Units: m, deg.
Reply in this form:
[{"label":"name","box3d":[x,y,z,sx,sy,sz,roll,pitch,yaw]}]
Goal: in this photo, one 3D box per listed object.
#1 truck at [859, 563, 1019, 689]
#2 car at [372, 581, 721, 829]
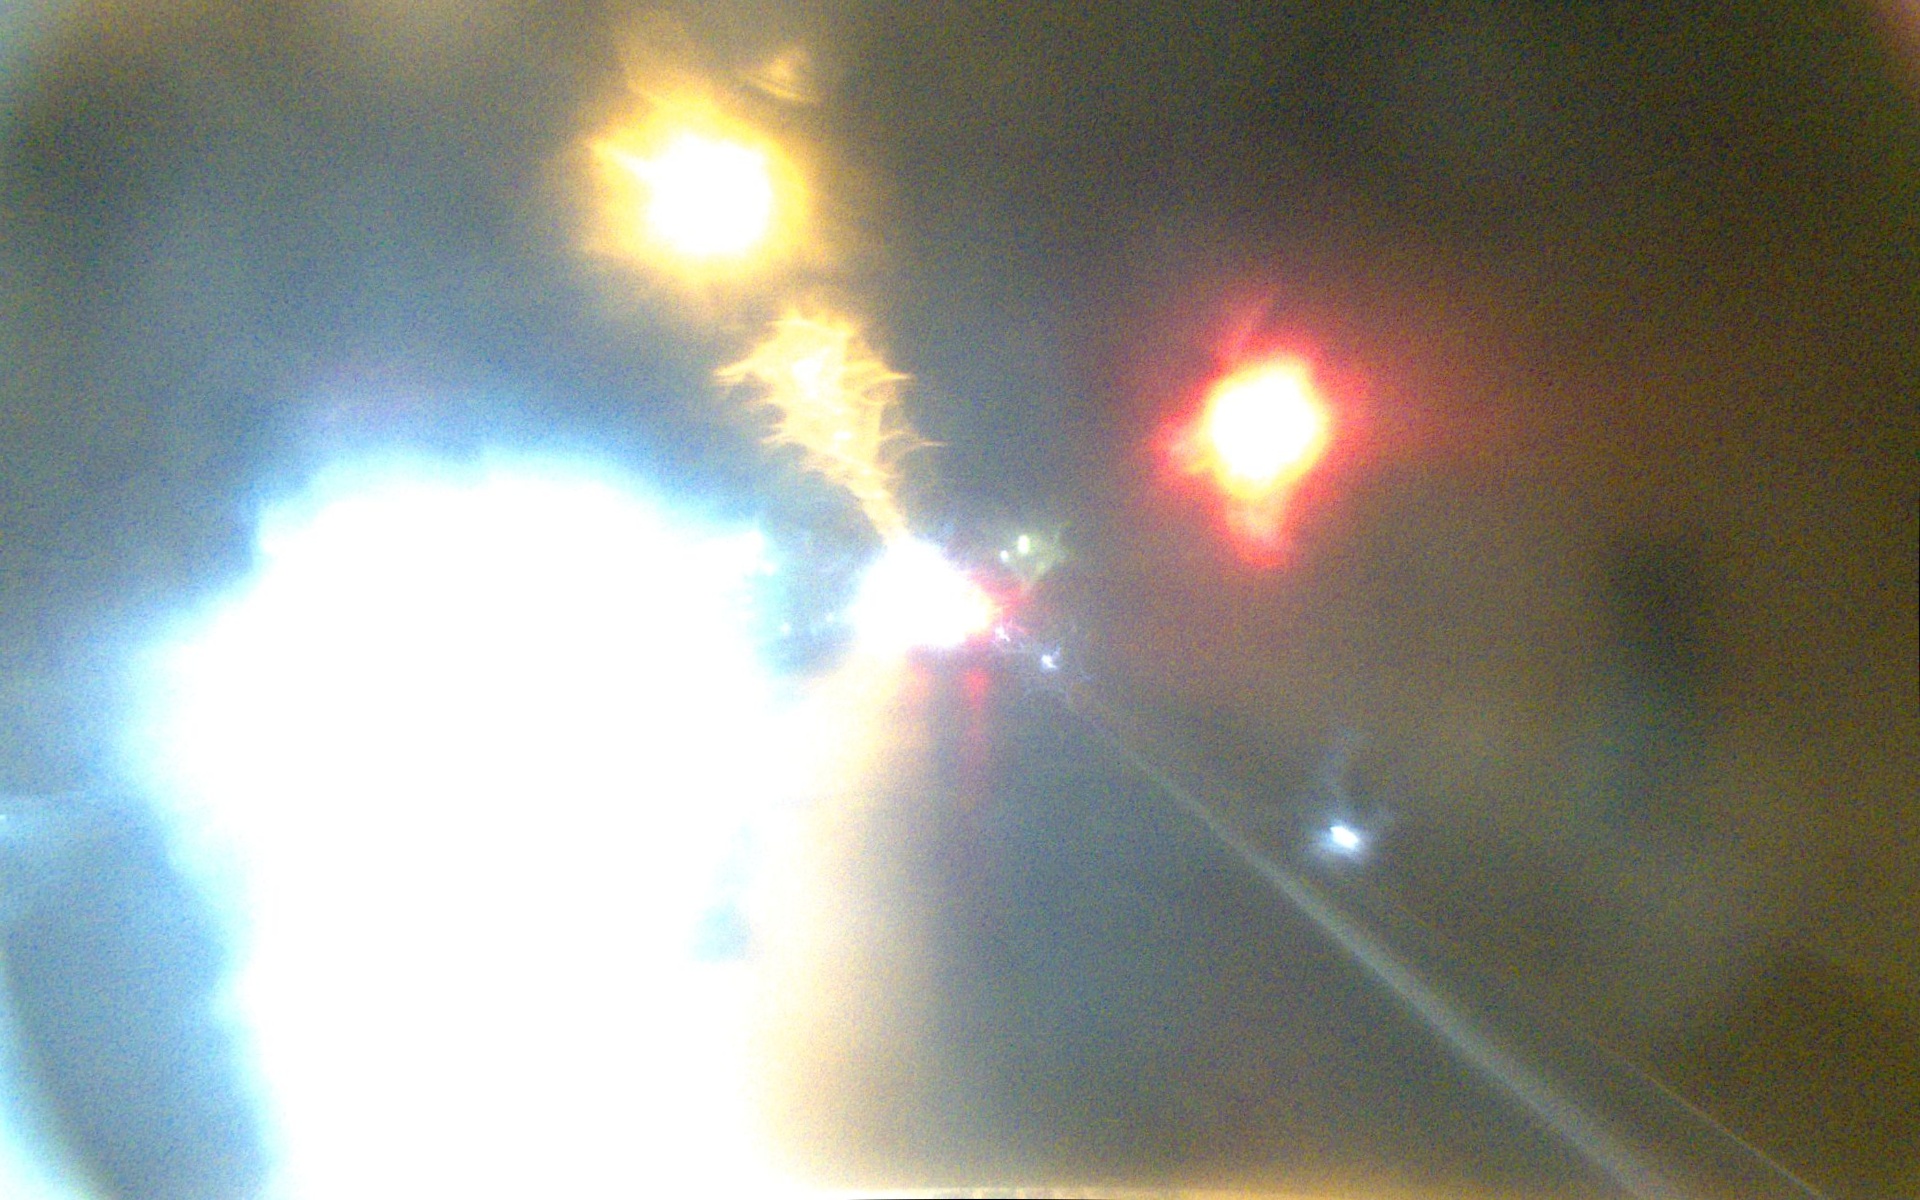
[{"label":"truck","box3d":[-0.496,0.560,40.400,3.463,2.740,8.954,0,0,-1]},{"label":"car","box3d":[-2.982,0.688,12.753,1.721,1.555,3.814,2,0,-1]}]
